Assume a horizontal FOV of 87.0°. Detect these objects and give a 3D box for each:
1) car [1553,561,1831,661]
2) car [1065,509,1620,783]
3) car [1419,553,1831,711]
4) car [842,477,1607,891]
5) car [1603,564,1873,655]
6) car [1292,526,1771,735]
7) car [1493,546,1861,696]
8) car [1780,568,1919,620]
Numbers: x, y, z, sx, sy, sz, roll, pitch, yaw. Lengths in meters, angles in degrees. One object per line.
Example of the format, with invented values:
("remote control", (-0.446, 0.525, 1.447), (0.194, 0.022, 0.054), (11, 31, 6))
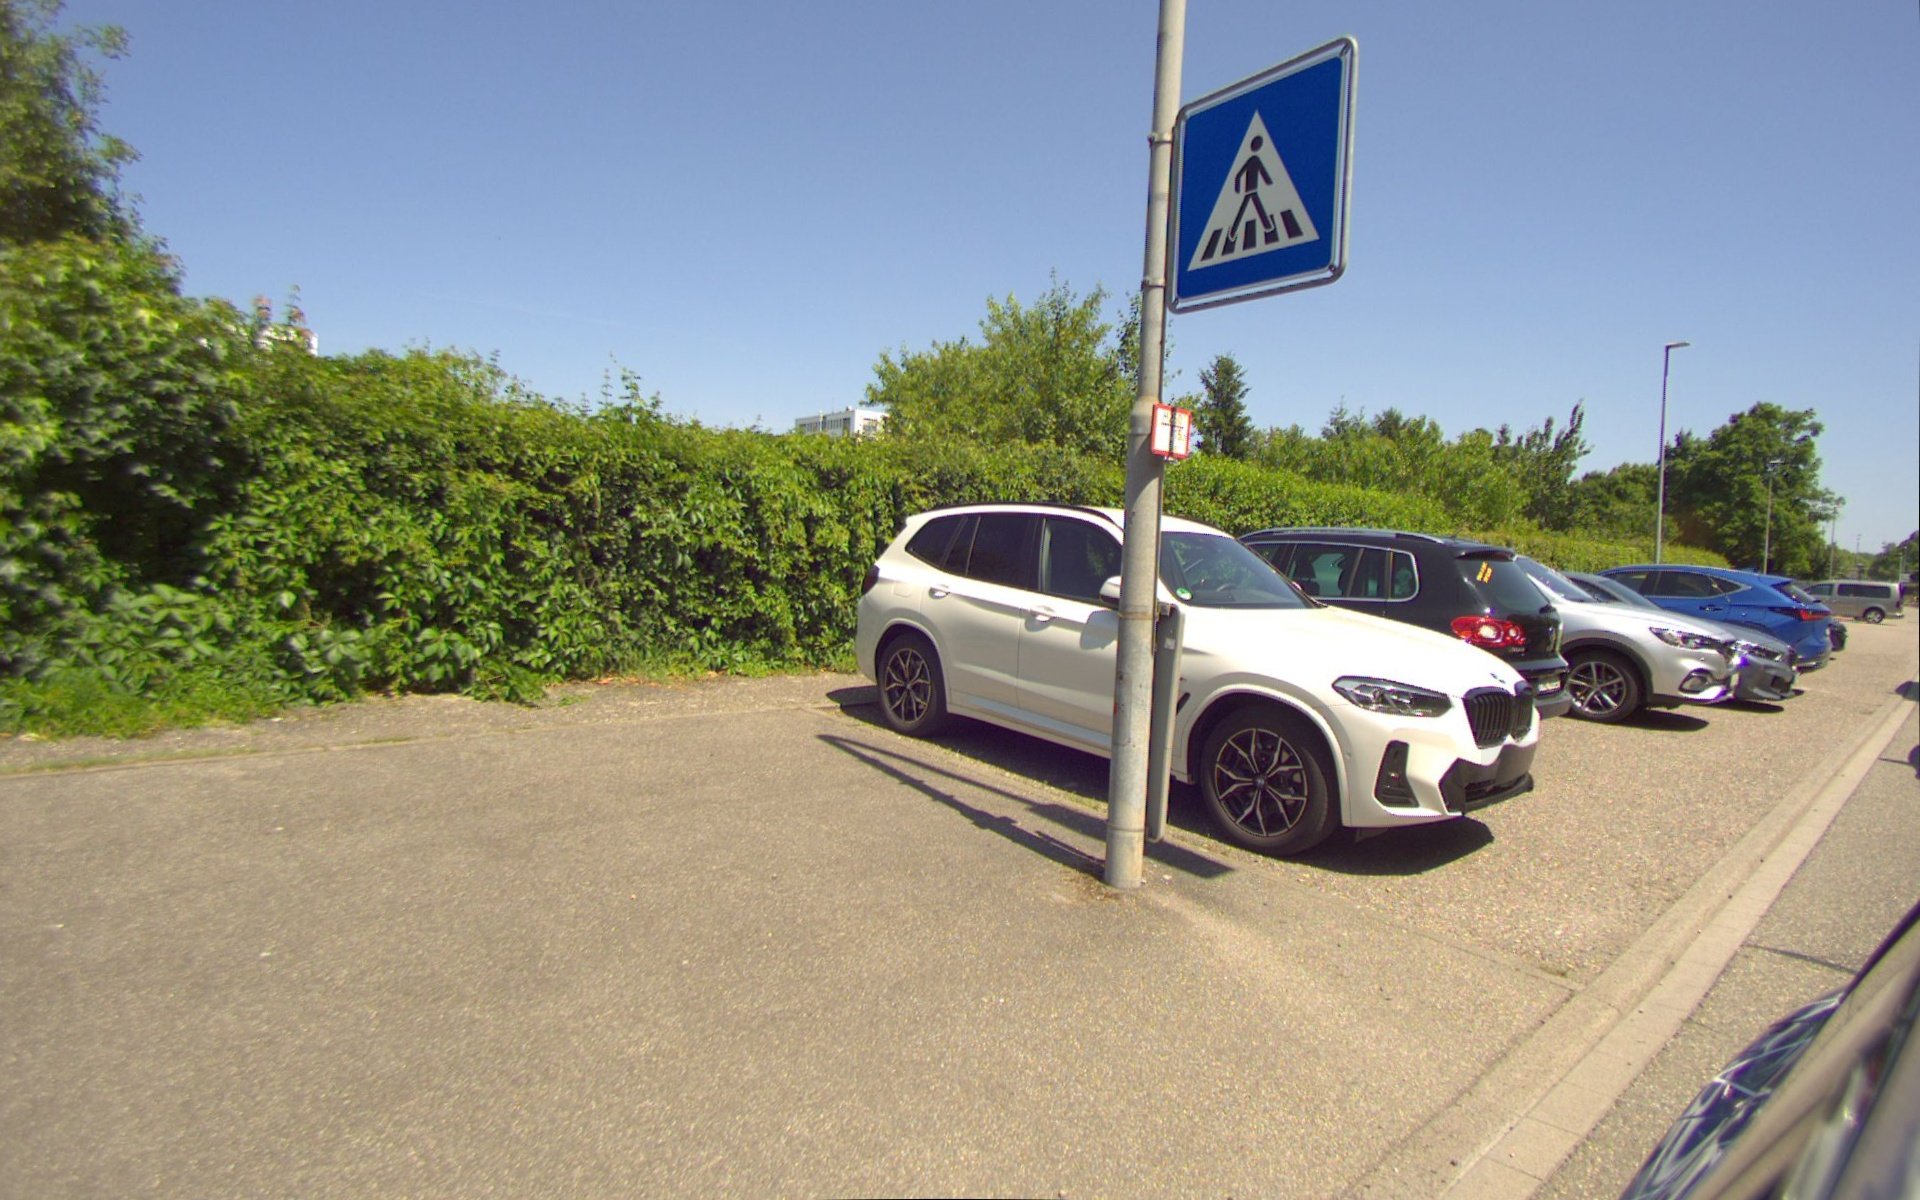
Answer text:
("car", (14.077, 0.123, 19.645), (1.621, 1.463, 4.034), (-1, 6, -42))
("car", (2.995, 0.164, 8.586), (1.736, 1.705, 3.980), (0, 5, -42))
("car", (8.261, 0.268, 12.865), (1.652, 1.425, 4.033), (-1, 6, -43))
("car", (1.282, 0.154, 6.529), (1.819, 1.750, 4.464), (-1, 6, -41))
("car", (16.328, 0.120, 21.422), (1.621, 1.434, 4.250), (-1, 6, -42))
("car", (6.052, 0.158, 11.103), (1.747, 1.660, 4.165), (-1, 6, -44))
("car", (10.316, 0.179, 14.807), (1.645, 1.661, 4.035), (-1, 6, -42))
("car", (39.490, -0.307, 45.009), (4.484, 1.872, 1.669), (8, 6, 43))
